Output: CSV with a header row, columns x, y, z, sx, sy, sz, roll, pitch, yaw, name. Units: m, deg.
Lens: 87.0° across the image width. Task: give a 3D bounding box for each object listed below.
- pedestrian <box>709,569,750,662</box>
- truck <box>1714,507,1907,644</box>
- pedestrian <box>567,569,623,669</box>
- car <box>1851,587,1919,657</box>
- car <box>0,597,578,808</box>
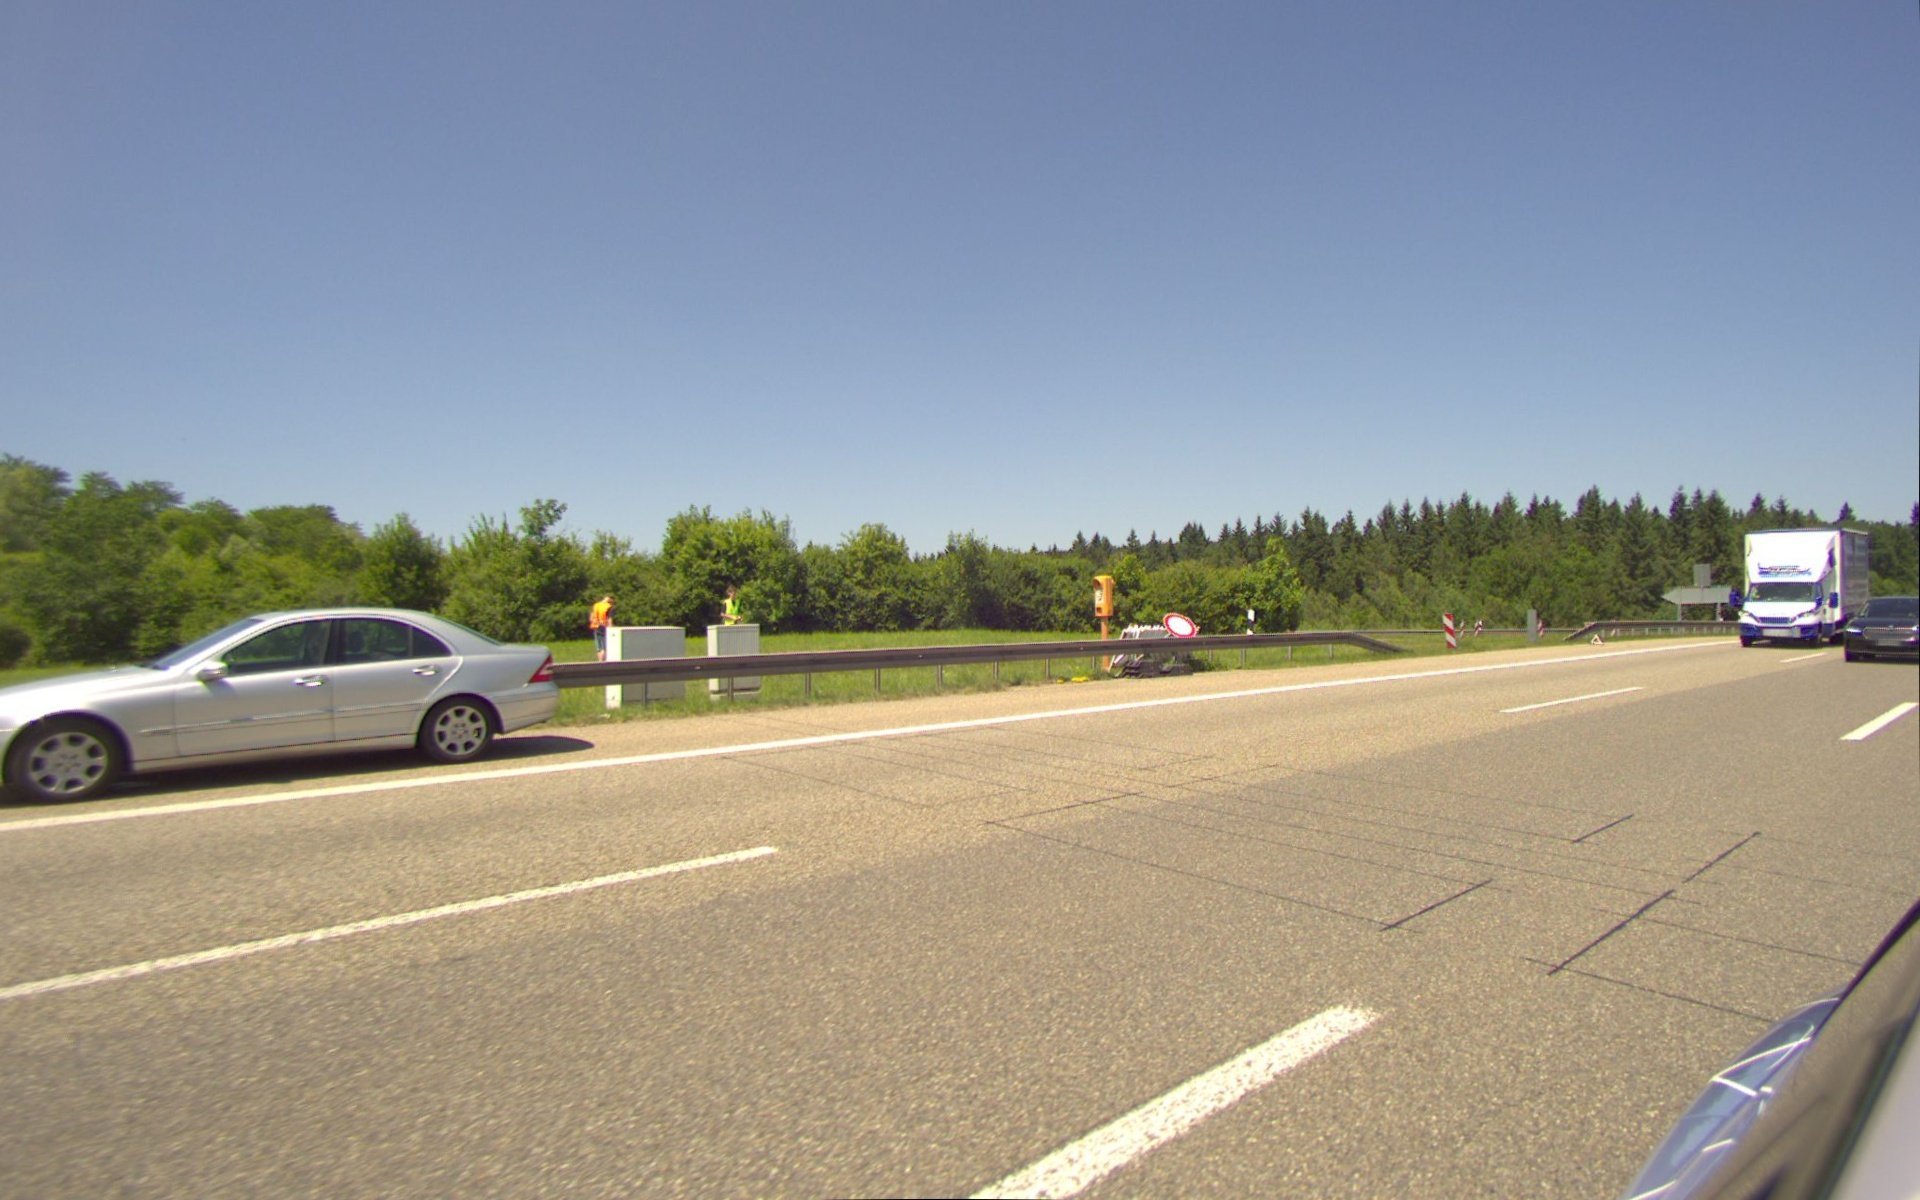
x,y,z,sx,sy,sz,roll,pitch,yaw,name
-5.377,0.373,23.600,0.676,2.107,0.929,-1,-3,-27,pedestrian
29.528,-0.756,34.952,9.558,4.182,2.790,-1,-2,-37,truck
-7.840,0.408,21.746,0.912,2.107,0.689,0,-4,-41,pedestrian
23.972,0.557,25.278,4.378,1.640,1.988,2,-1,-41,car
-6.009,0.735,8.878,4.684,1.458,1.717,-1,-1,-41,car
